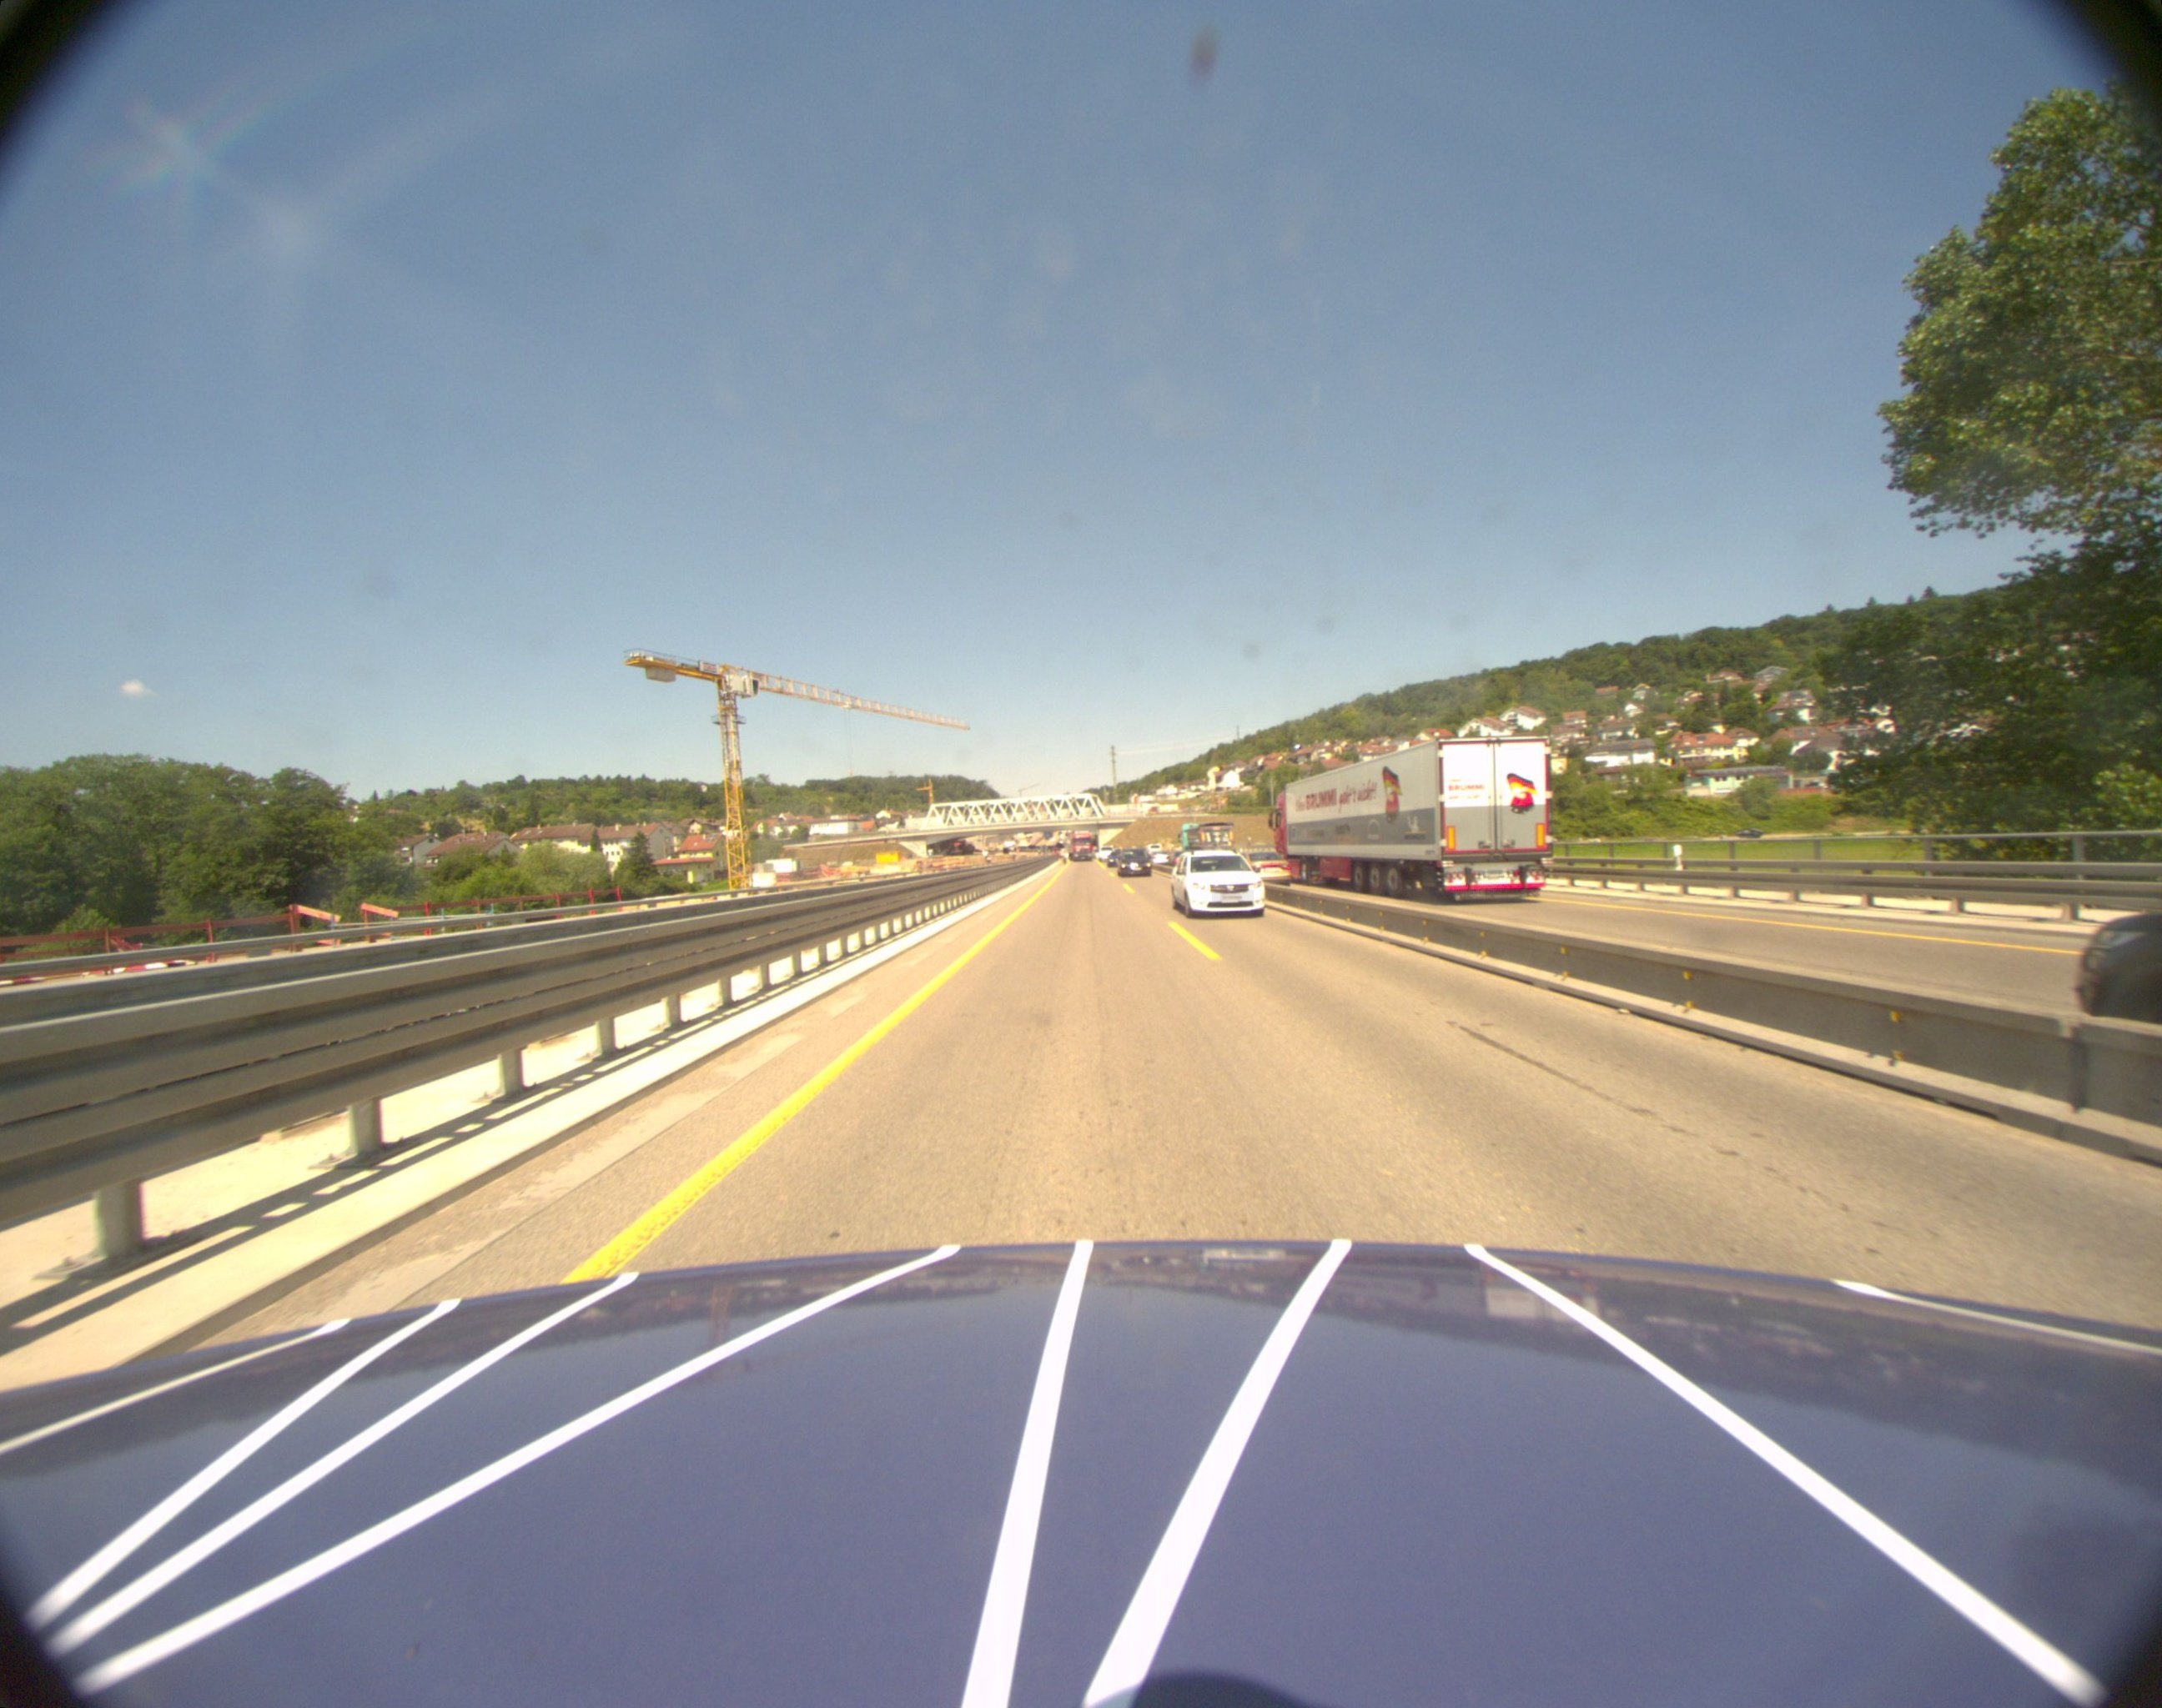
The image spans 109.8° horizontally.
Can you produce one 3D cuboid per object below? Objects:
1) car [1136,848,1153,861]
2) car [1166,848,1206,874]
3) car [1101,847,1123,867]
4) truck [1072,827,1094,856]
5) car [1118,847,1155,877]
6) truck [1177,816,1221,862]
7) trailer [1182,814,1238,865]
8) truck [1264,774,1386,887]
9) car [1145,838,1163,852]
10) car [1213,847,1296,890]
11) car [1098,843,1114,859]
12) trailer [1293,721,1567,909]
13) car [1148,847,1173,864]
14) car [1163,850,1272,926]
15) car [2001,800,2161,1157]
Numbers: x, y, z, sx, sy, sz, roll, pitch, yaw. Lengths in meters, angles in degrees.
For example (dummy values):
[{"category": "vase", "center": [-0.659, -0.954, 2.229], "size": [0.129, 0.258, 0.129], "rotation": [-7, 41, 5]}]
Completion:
[{"category": "car", "center": [7.078, 0.024, 85.107], "size": [1.635, 1.400, 4.102], "rotation": [-1, 1, 0]}, {"category": "car", "center": [6.634, 0.399, 48.498], "size": [1.894, 1.479, 4.919], "rotation": [-3, 1, 0]}, {"category": "car", "center": [2.746, 0.226, 67.562], "size": [1.791, 1.578, 4.000], "rotation": [-4, 0, 2]}, {"category": "truck", "center": [0.340, -1.755, 103.657], "size": [2.702, 3.705, 8.507], "rotation": [-2, 1, 2]}, {"category": "car", "center": [3.296, 0.439, 45.907], "size": [1.862, 1.683, 4.097], "rotation": [-2, 1, -1]}, {"category": "truck", "center": [10.101, -1.287, 65.455], "size": [2.804, 3.701, 5.372], "rotation": [-2, 1, 0]}, {"category": "trailer", "center": [10.108, -1.152, 60.403], "size": [2.801, 3.651, 8.955], "rotation": [-2, 1, 0]}, {"category": "truck", "center": [9.692, -0.871, 31.009], "size": [2.823, 4.014, 6.522], "rotation": [-2, 0, 1]}, {"category": "car", "center": [10.219, -1.220, 106.335], "size": [1.864, 1.857, 4.628], "rotation": [-1, 1, -1]}, {"category": "car", "center": [6.280, 0.491, 27.930], "size": [1.906, 1.453, 4.193], "rotation": [0, 0, -3]}, {"category": "car", "center": [3.050, -0.398, 93.871], "size": [1.791, 1.871, 4.000], "rotation": [-4, 0, 2]}, {"category": "trailer", "center": [9.592, -0.874, 23.159], "size": [2.813, 4.152, 11.797], "rotation": [-2, 0, 0]}, {"category": "car", "center": [6.579, 0.085, 63.357], "size": [1.785, 1.372, 4.712], "rotation": [-1, 1, 3]}, {"category": "car", "center": [3.161, 0.718, 18.552], "size": [1.823, 1.521, 4.706], "rotation": [-3, 1, 1]}, {"category": "car", "center": [6.002, 0.553, 1.864], "size": [1.852, 1.678, 4.618], "rotation": [-4, 0, 0]}]
